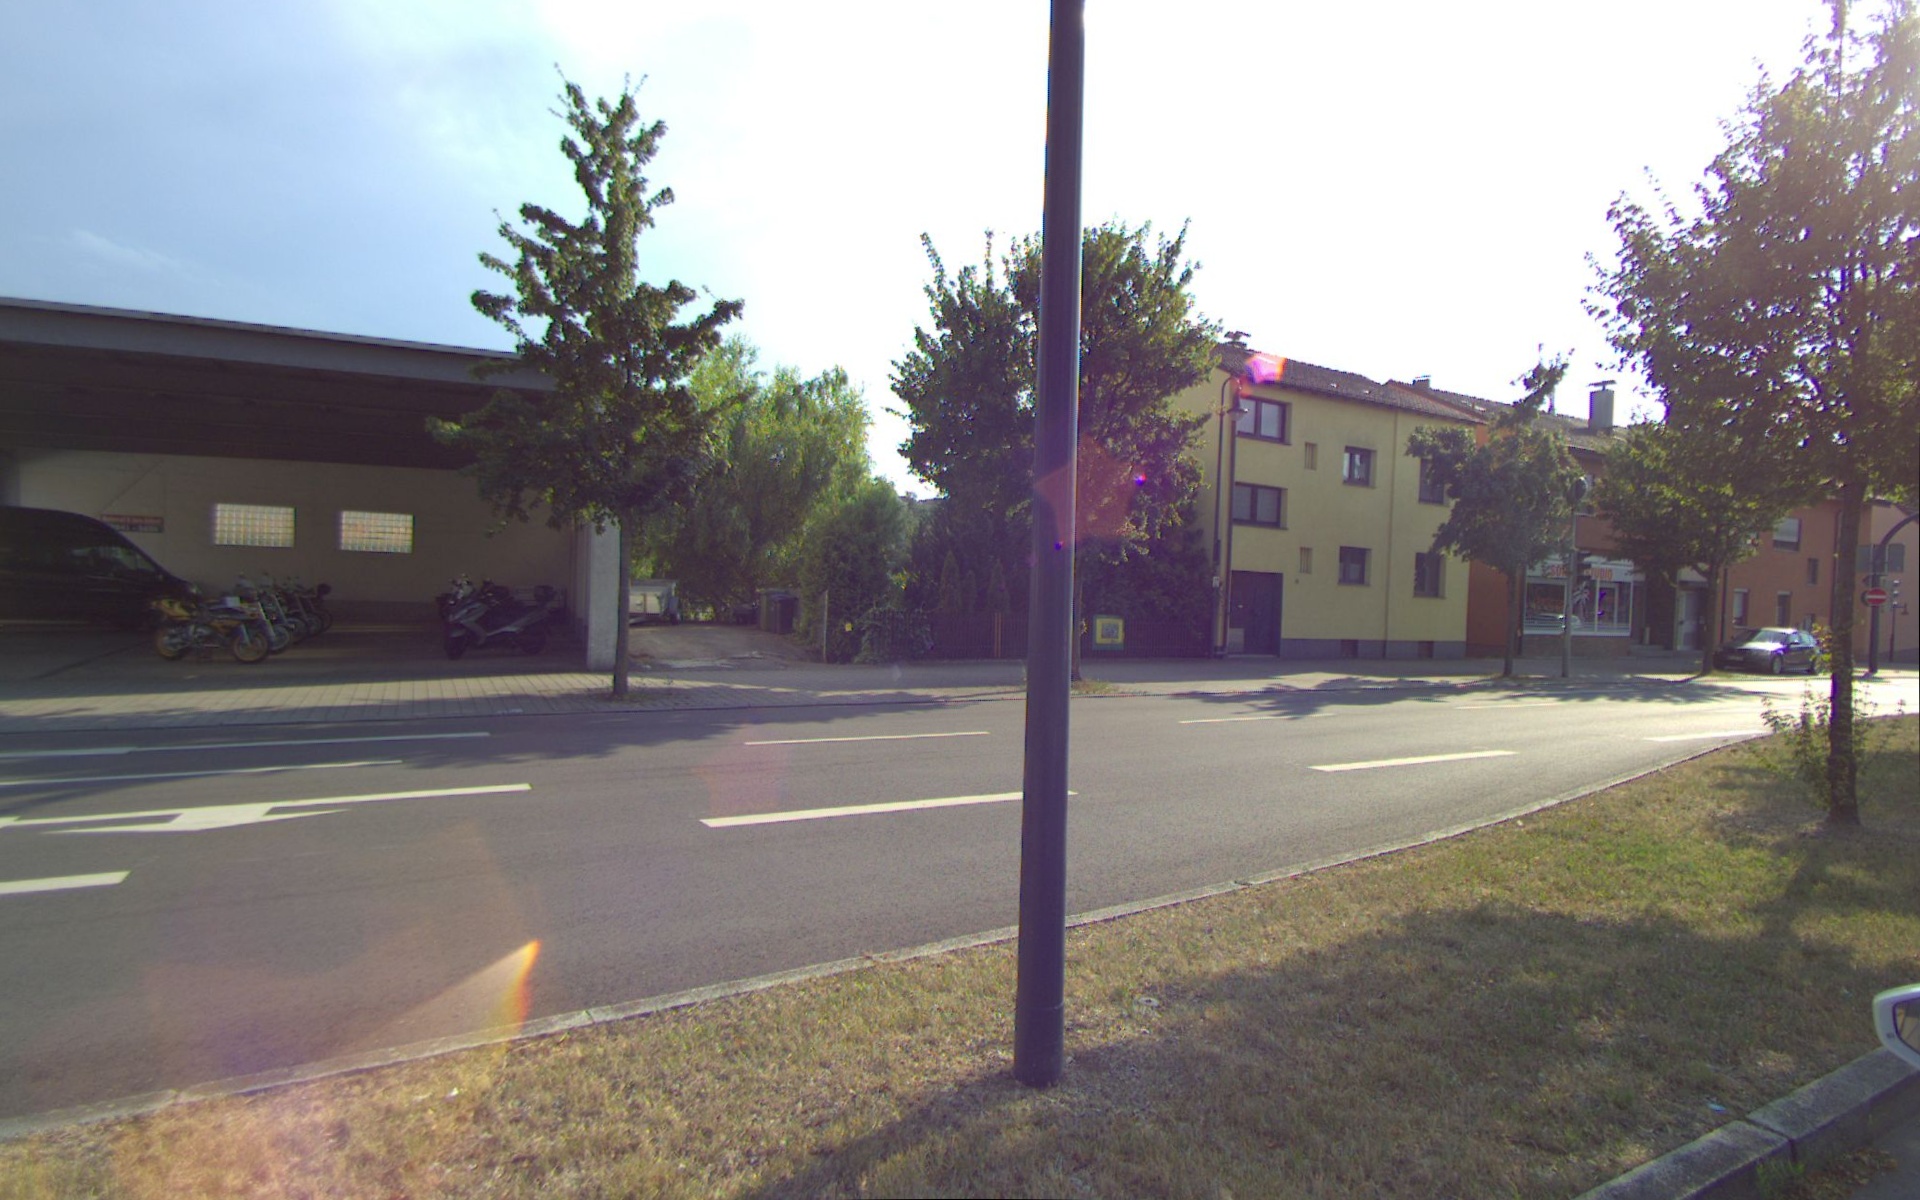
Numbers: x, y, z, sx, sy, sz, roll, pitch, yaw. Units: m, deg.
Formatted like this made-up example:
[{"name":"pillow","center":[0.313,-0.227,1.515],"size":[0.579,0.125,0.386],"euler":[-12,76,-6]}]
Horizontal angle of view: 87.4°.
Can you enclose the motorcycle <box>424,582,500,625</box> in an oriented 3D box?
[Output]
[{"name":"motorcycle","center":[-15.936,0.099,32.189],"size":[0.621,1.314,2.113],"euler":[1,2,36]}]

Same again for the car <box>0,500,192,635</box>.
[{"name":"car","center":[-20.429,-0.682,22.103],"size":[1.962,2.789,5.280],"euler":[1,0,26]}]

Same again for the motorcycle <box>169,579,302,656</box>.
[{"name":"motorcycle","center":[-13.608,0.320,18.874],"size":[2.219,1.354,0.631],"euler":[1,0,10]}]

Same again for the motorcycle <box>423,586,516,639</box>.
[{"name":"motorcycle","center":[-12.625,0.292,25.932],"size":[0.621,1.314,2.113],"euler":[1,2,36]}]

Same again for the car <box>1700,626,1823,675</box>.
[{"name":"car","center":[25.992,1.597,32.569],"size":[3.953,1.319,1.728],"euler":[1,4,-30]}]

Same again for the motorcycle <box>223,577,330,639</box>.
[{"name":"motorcycle","center":[-15.861,0.181,23.326],"size":[2.219,1.354,0.631],"euler":[1,0,10]}]

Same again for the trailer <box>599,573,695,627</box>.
[{"name":"trailer","center":[-8.194,-0.007,26.630],"size":[1.698,1.280,3.995],"euler":[1,0,-7]}]

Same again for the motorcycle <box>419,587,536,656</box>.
[{"name":"motorcycle","center":[-9.789,0.402,20.471],"size":[0.621,1.314,2.113],"euler":[1,2,36]}]

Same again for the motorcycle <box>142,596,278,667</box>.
[{"name":"motorcycle","center":[-12.473,0.505,16.709],"size":[1.993,1.101,0.631],"euler":[1,0,12]}]

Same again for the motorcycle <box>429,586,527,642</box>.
[{"name":"motorcycle","center":[-11.743,0.312,24.550],"size":[0.621,1.314,2.113],"euler":[1,2,36]}]

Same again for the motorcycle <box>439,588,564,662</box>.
[{"name":"motorcycle","center":[-8.595,0.431,18.909],"size":[0.621,1.314,2.113],"euler":[1,2,36]}]

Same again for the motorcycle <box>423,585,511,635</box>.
[{"name":"motorcycle","center":[-13.490,0.239,27.530],"size":[0.621,1.314,2.113],"euler":[1,2,36]}]

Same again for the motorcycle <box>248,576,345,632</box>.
[{"name":"motorcycle","center":[-16.885,0.102,25.585],"size":[2.219,1.354,0.631],"euler":[1,0,10]}]

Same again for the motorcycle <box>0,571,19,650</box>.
[{"name":"motorcycle","center":[-17.263,0.170,16.736],"size":[0.619,1.380,2.225],"euler":[1,0,24]}]

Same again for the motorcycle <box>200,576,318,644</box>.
[{"name":"motorcycle","center":[-14.729,0.205,21.117],"size":[2.219,1.354,0.631],"euler":[1,0,10]}]

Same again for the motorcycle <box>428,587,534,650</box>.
[{"name":"motorcycle","center":[-10.718,0.384,22.549],"size":[0.621,1.314,2.113],"euler":[1,2,36]}]
